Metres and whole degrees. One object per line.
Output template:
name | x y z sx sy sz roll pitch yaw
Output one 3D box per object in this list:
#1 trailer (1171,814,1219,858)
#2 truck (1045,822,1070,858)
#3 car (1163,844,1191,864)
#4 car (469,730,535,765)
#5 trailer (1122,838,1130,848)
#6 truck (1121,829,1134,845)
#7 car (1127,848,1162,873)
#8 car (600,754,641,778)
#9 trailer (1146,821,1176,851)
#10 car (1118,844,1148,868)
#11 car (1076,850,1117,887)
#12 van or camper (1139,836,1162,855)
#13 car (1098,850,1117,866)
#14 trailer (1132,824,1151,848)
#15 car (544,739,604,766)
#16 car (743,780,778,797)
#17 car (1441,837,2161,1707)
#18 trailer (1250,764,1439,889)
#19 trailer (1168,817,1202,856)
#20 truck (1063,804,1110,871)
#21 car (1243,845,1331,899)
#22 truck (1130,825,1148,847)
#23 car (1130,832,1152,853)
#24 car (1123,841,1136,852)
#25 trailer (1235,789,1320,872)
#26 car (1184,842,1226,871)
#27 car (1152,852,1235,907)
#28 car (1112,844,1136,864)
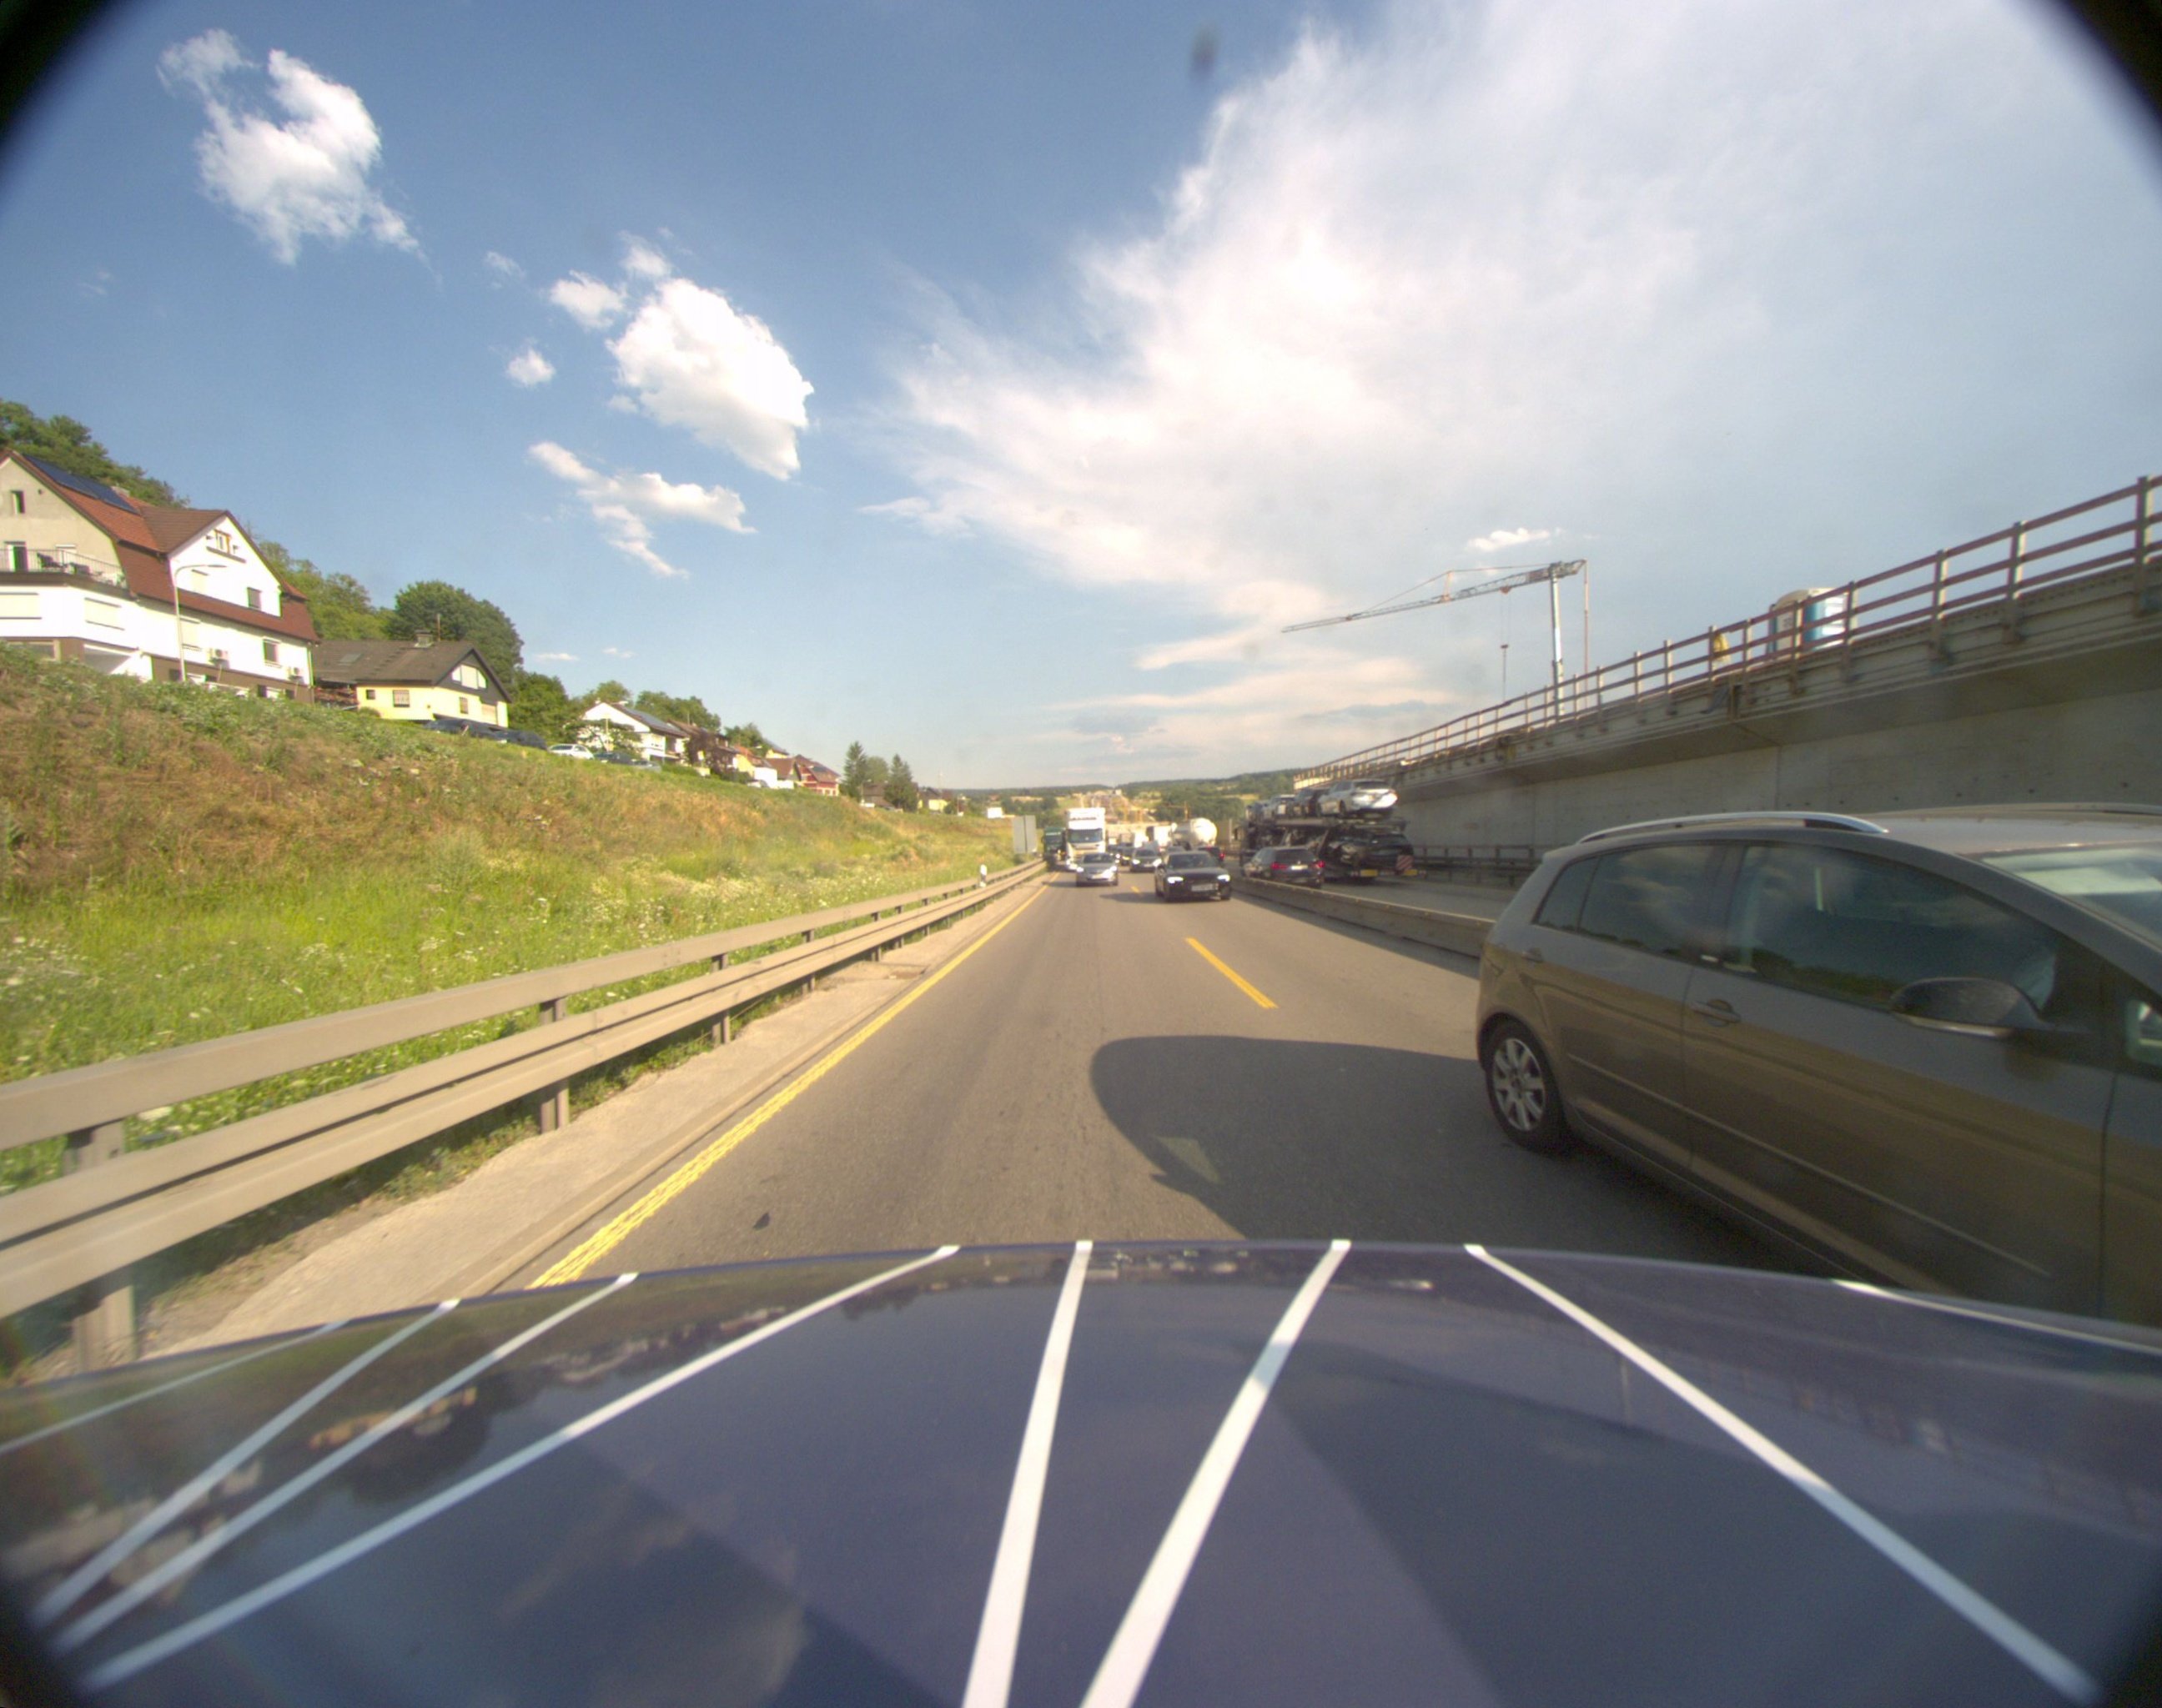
trailer | 10.896 -1.701 74.060 2.659 3.828 13.439 -2 1 0
truck | -2.757 -1.656 90.022 2.547 3.992 6.070 -2 1 1
car | 7.673 -0.045 61.146 1.713 1.437 4.599 -2 1 1
car | -31.310 -5.753 41.165 1.362 1.450 3.229 -2 1 -8
trailer | 8.469 -2.091 143.322 1.452 1.843 2.983 -2 1 1
truck | 12.143 -4.393 197.618 2.873 4.038 7.597 -2 1 1
car | 3.727 0.338 45.168 1.692 1.293 3.882 -2 1 -1
car | -32.639 -6.247 53.979 1.348 1.315 3.340 -2 1 -11
trailer | 11.361 -2.580 109.271 2.932 4.014 13.772 -2 1 1
car | 3.969 0.132 58.771 1.998 1.740 4.000 -1 1 0
car | 0.662 0.585 32.914 1.671 1.425 3.523 -1 1 1
van or camper | 7.626 -0.952 83.545 1.863 2.002 5.294 -2 1 -1
car | 2.941 0.415 84.125 1.918 1.746 4.000 -1 0 0
trailer | 11.490 -3.373 144.626 2.834 4.258 8.733 -2 1 1
car | -32.087 -6.407 48.188 1.347 1.225 3.898 -2 1 -4
car | -34.360 -7.036 81.488 1.998 1.434 3.999 -2 1 1
car | 2.847 0.771 2.112 1.685 1.579 4.270 -1 2 0
trailer | 10.376 -1.055 32.691 2.778 4.008 15.760 -2 1 1
trailer | 10.938 -1.829 80.325 2.659 3.828 6.428 -2 1 0
truck | 0.473 -1.128 53.123 2.741 4.033 12.668 -2 1 1
car | 6.729 0.513 25.339 1.770 1.543 4.836 -2 1 2
truck | 11.619 -3.573 154.030 2.834 4.239 10.070 -2 1 1
car | 7.711 -1.547 98.975 1.999 2.608 7.407 -2 1 -1
car | 7.931 -1.247 124.177 1.785 1.833 4.852 -2 1 1
trailer | 10.512 -1.237 41.453 2.778 4.008 7.206 -2 1 1
car | 7.250 0.100 44.720 1.761 1.569 4.338 -2 1 1
car | 3.288 0.686 23.027 1.873 1.411 4.348 -1 1 1
car | 3.834 -0.011 67.964 1.918 1.746 4.000 -1 0 0
